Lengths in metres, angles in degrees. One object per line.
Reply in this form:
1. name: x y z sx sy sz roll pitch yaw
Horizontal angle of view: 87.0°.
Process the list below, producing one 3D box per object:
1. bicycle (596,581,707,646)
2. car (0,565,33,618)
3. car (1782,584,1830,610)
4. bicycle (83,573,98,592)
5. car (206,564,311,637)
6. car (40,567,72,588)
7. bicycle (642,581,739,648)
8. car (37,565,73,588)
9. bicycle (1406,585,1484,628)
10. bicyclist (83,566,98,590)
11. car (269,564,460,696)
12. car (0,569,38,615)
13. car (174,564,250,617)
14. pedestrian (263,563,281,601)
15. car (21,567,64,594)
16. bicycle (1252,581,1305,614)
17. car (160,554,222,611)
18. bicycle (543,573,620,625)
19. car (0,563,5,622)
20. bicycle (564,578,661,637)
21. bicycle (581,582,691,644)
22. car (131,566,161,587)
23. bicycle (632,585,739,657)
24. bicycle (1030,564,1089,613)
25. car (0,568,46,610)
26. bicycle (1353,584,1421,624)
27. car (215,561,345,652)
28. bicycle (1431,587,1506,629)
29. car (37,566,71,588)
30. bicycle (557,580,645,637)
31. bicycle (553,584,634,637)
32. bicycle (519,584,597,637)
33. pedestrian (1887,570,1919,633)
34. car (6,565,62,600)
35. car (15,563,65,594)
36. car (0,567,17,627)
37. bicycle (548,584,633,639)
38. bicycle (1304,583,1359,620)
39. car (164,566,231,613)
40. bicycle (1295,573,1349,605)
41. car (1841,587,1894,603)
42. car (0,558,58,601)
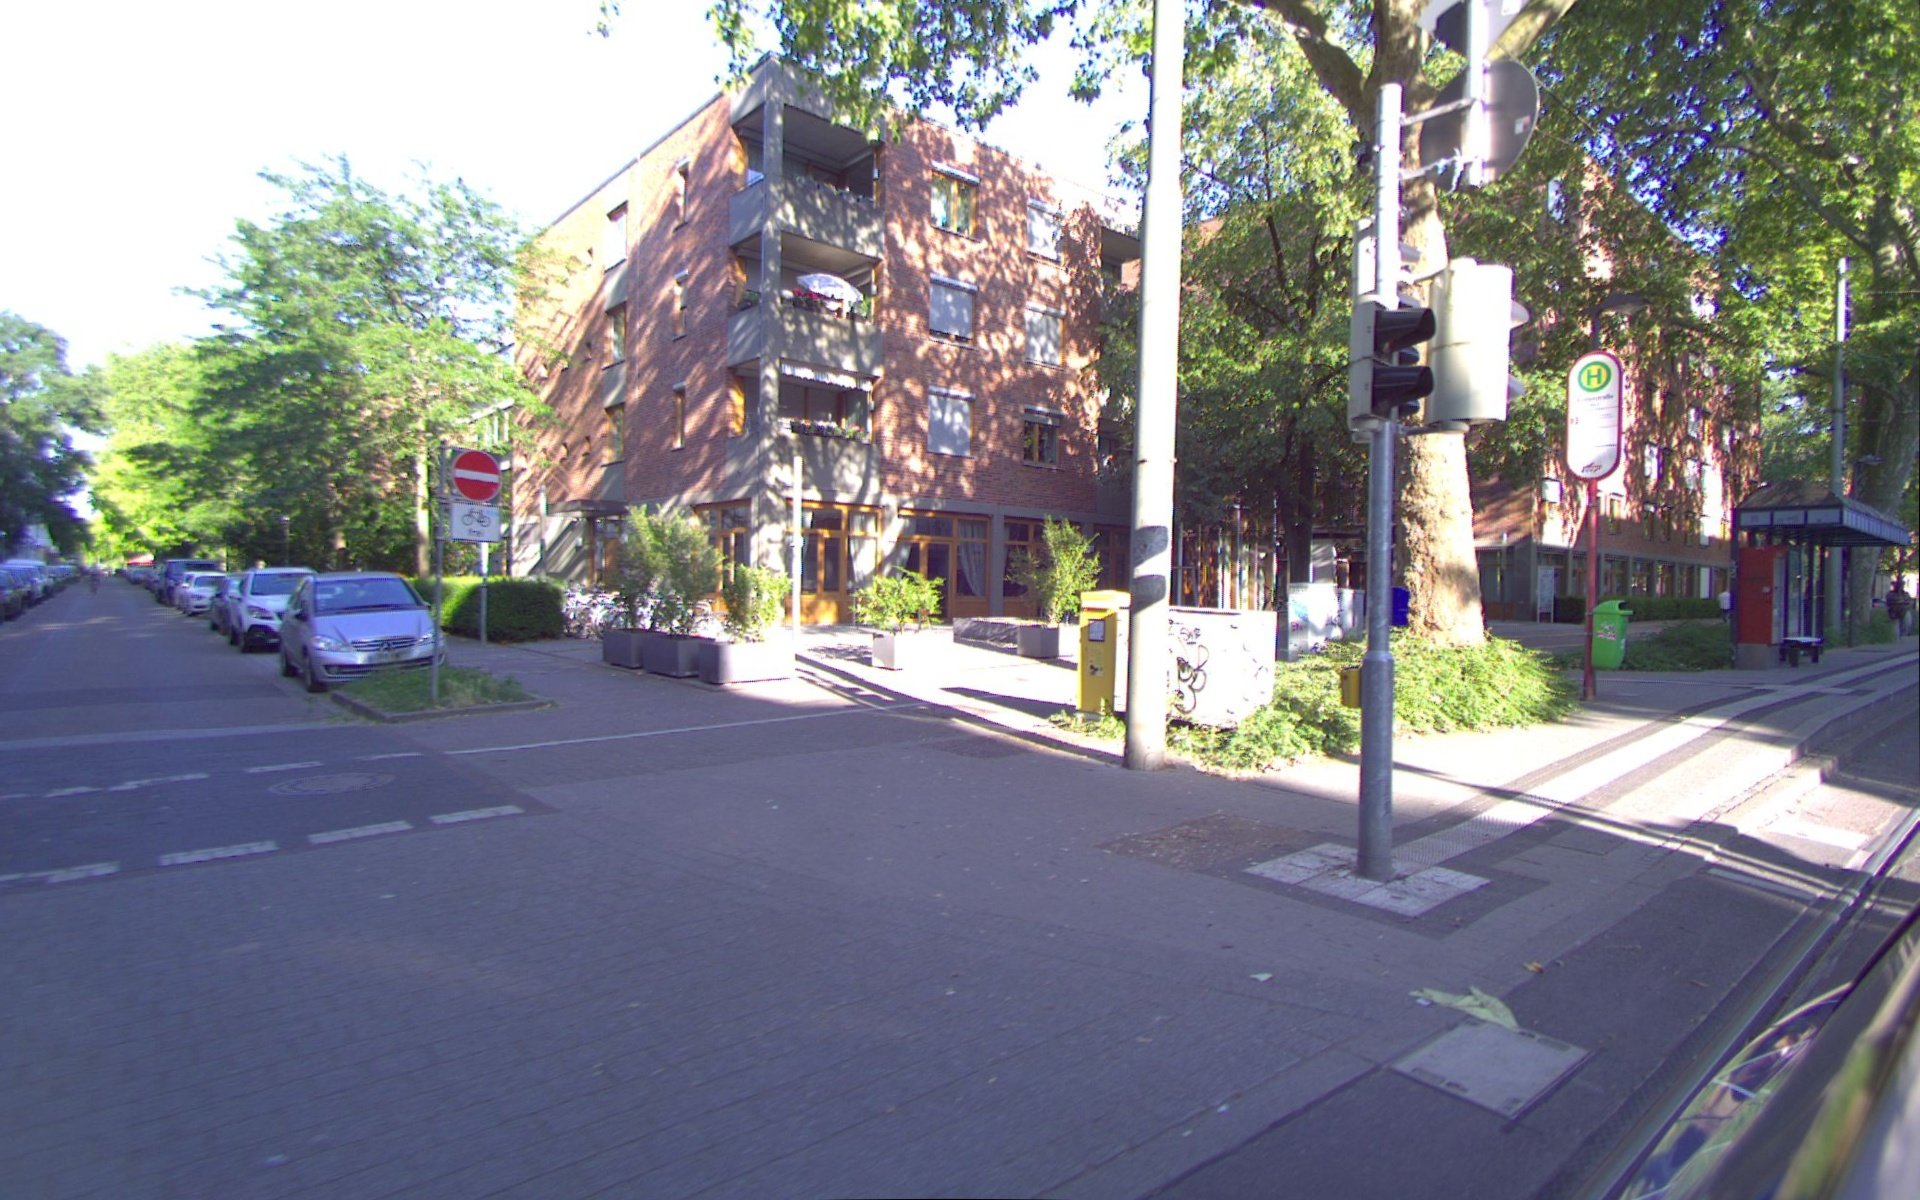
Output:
1. bicycle: -5.952 0.245 19.558 1.946 1.171 0.638 0 3 -39
2. car: -30.232 -0.324 31.483 1.833 1.572 3.869 3 -1 -41
3. car: 52.693 -0.210 63.008 3.892 1.527 1.657 0 1 -41
4. bicycle: -49.166 -1.002 57.217 0.640 1.069 1.541 0 1 -41
5. car: -17.993 -0.046 25.893 1.833 1.714 3.869 0 2 -41
6. car: -75.952 -1.908 85.058 1.833 1.572 3.869 3 -1 -41
7. bicycle: -4.975 0.247 18.755 0.600 1.171 1.670 3 3 44
8. car: -67.778 -1.772 75.811 1.833 1.572 3.869 3 -1 -41
9. bicycle: 14.645 0.173 30.621 0.562 1.171 2.036 0 3 -40
10. bicyclist: -49.243 -1.264 57.311 0.640 1.361 0.697 0 1 -41
11. car: -9.030 0.337 15.210 1.833 1.714 3.869 0 2 -41
12. car: -35.507 -0.335 37.479 1.833 1.572 3.869 3 -1 -41
13. car: -25.862 -0.363 34.951 1.833 1.714 3.869 0 2 -41
14. pedestrian: -29.358 -0.769 43.181 0.643 1.605 0.772 0 1 -36
15. car: -58.751 -1.248 64.864 1.833 1.572 3.869 3 -1 -41
16. bicycle: 12.004 -0.091 38.108 1.997 1.171 0.709 0 2 -32
17. car: -32.206 -0.750 42.337 1.833 2.260 3.869 0 1 -41
18. bicycle: -8.888 -0.034 23.828 0.519 1.171 1.674 3 3 38
19. car: -25.099 -0.192 25.068 1.833 1.572 3.869 3 -1 -41
20. bicycle: -7.318 0.149 21.340 1.819 1.171 0.662 0 3 -42
21. bicycle: -6.613 0.243 20.700 2.015 1.171 0.732 0 3 -41
22. car: -67.861 -1.960 84.333 1.833 1.714 3.869 0 2 -41
23. bicycle: -4.731 0.343 17.507 1.667 1.171 0.601 0 3 -38
24. bicycle: 2.488 -0.308 25.537 0.560 1.171 1.939 1 3 -25
25. car: -38.603 -0.463 41.242 1.833 1.572 3.869 3 -1 -41
26. bicycle: 13.828 0.113 32.829 0.561 1.171 2.038 0 3 -35
27. car: -14.294 0.071 21.192 1.833 1.714 3.869 0 2 -41
28. bicycle: 15.505 0.227 30.939 0.561 1.171 2.040 0 3 -30
29. car: -72.246 -1.835 80.741 1.833 1.572 3.869 3 -1 -41
30. bicycle: -7.810 0.168 22.048 1.668 1.171 0.662 0 3 -42
31. bicycle: -8.448 0.225 23.362 0.563 1.171 1.671 3 3 44
32. bicycle: -9.546 0.228 24.083 0.562 1.171 1.674 3 3 38
33. pedestrian: 26.169 0.037 27.825 0.761 1.680 0.908 1 1 27
34. car: -46.218 -0.885 50.562 1.833 1.572 3.869 3 -1 -41
35. car: -50.362 -1.185 55.440 1.833 1.572 3.869 3 -1 -41
36. car: -27.717 -0.156 28.232 1.833 1.572 3.869 3 -1 -41
37. bicycle: -8.250 0.233 22.632 1.668 1.171 0.662 0 3 -42
38. bicycle: 12.597 0.027 34.365 0.561 1.171 1.684 0 3 -35
39. car: -29.177 -0.427 38.690 1.833 1.714 3.869 0 2 -41
40. bicycle: 14.247 -0.427 39.807 1.929 1.171 0.727 3 2 24
41. car: 90.032 -0.517 100.460 1.964 1.549 3.674 0 2 -39
42. car: -42.906 -0.942 46.634 1.833 1.830 3.869 3 -1 -41
